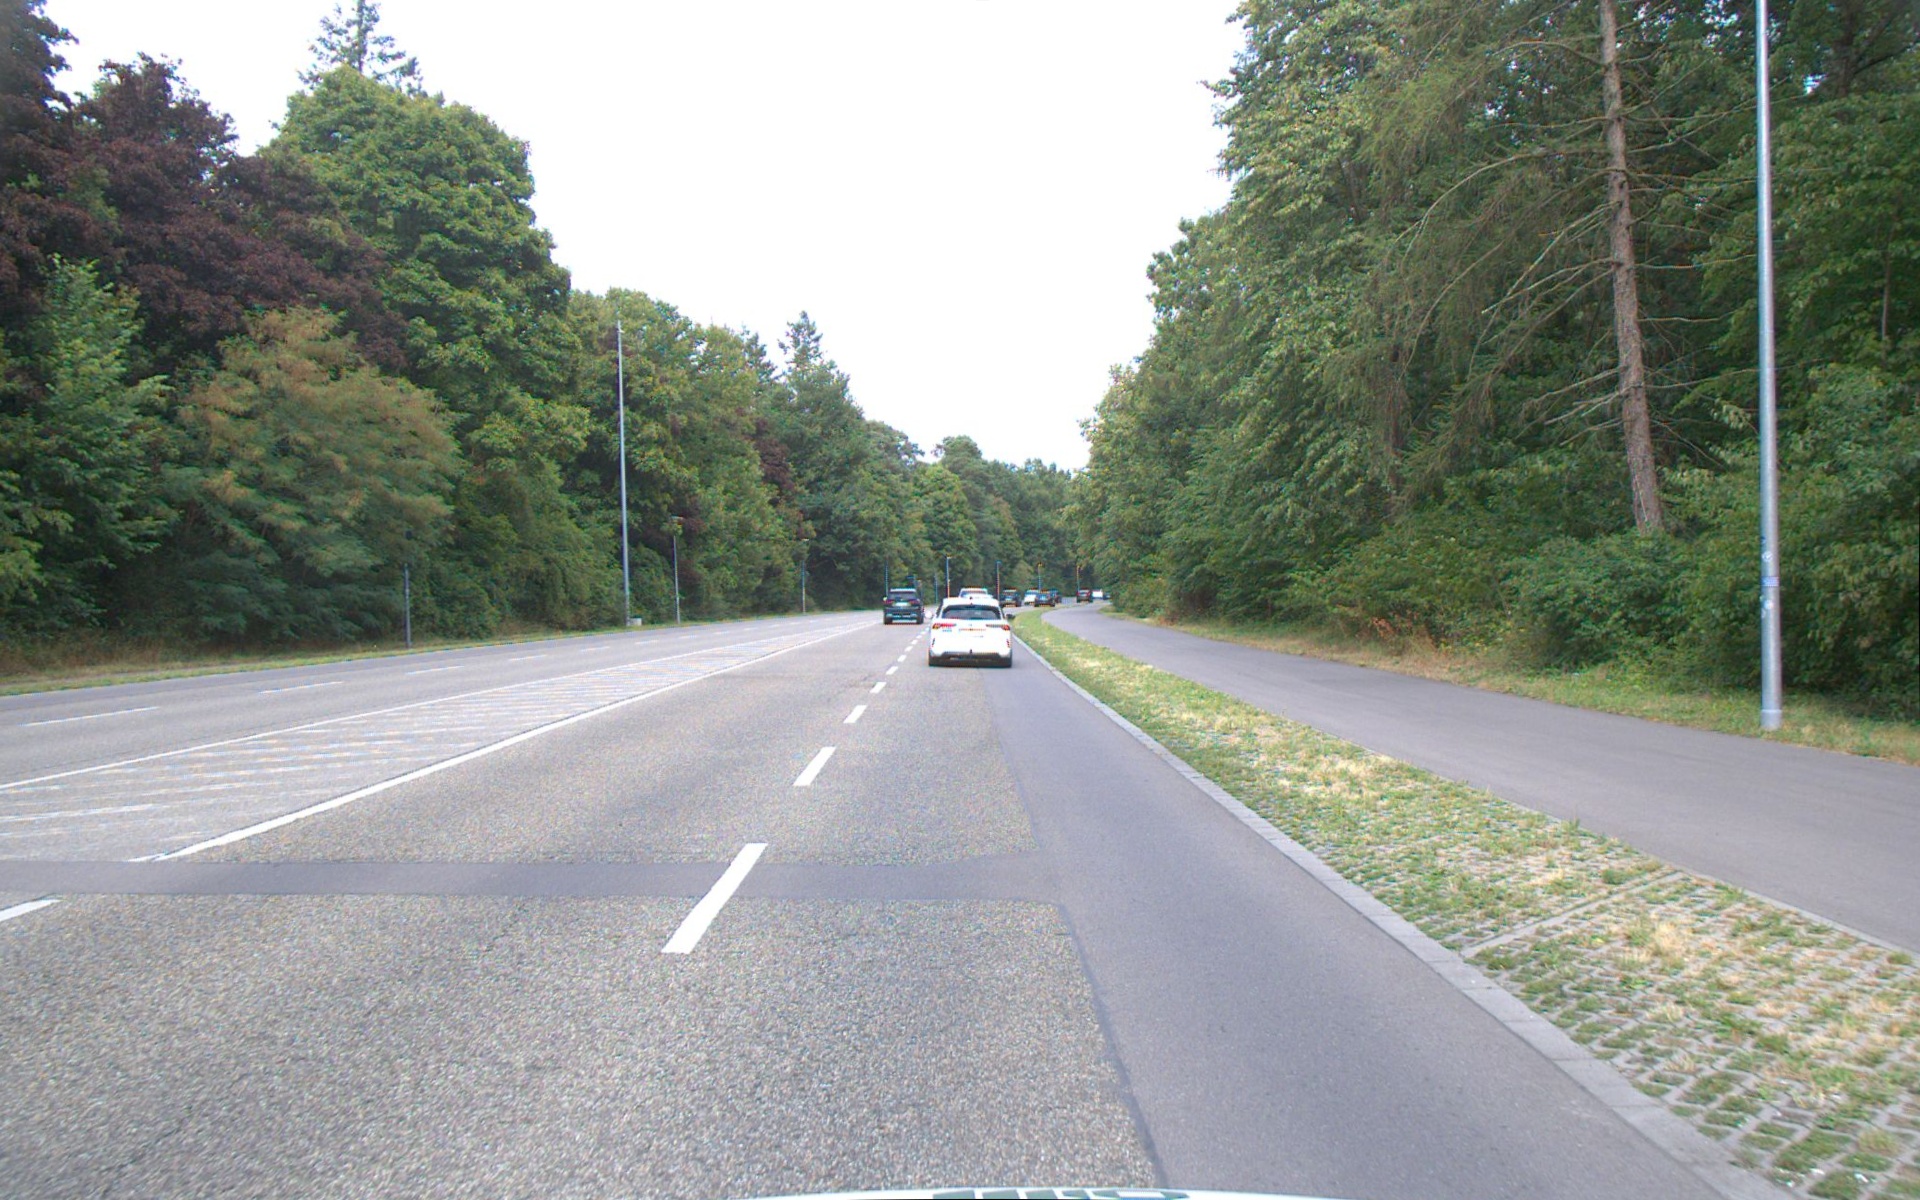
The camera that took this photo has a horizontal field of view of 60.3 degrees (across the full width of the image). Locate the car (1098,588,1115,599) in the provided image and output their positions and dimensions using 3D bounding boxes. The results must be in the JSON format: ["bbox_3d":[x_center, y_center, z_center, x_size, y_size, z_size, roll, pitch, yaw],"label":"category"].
[{"bbox_3d":[20.636,-0.895,232.821,1.951,1.434,4.003,2,-1,12],"label":"car"}]

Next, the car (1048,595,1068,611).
[{"bbox_3d":[11.747,0.347,198.268,1.951,1.814,4.003,2,-1,10],"label":"car"}]

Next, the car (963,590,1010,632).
[{"bbox_3d":[0.996,0.411,60.851,1.601,1.445,4.001,2,-1,2],"label":"car"}]

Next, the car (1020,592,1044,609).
[{"bbox_3d":[7.882,0.063,180.820,1.951,1.814,4.003,2,-1,10],"label":"car"}]

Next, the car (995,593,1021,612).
[{"bbox_3d":[4.700,0.250,161.038,1.951,1.814,4.003,2,-1,8],"label":"car"}]

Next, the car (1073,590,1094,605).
[{"bbox_3d":[15.409,-0.328,206.753,1.951,1.814,4.003,2,-1,14],"label":"car"}]

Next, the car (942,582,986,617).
[{"bbox_3d":[0.223,-0.041,84.472,1.952,1.635,4.002,2,1,4],"label":"car"}]

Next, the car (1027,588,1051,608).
[{"bbox_3d":[7.742,-0.156,161.852,1.951,1.814,4.003,2,-1,8],"label":"car"}]

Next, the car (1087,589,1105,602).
[{"bbox_3d":[20.318,-0.711,246.763,1.848,1.847,4.002,2,-1,15],"label":"car"}]

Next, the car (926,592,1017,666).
[{"bbox_3d":[0.213,0.613,35.619,1.799,1.435,4.490,2,-1,-1],"label":"car"}]

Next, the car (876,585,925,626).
[{"bbox_3d":[-2.772,0.253,77.858,1.952,1.818,4.001,2,-1,3],"label":"car"}]
